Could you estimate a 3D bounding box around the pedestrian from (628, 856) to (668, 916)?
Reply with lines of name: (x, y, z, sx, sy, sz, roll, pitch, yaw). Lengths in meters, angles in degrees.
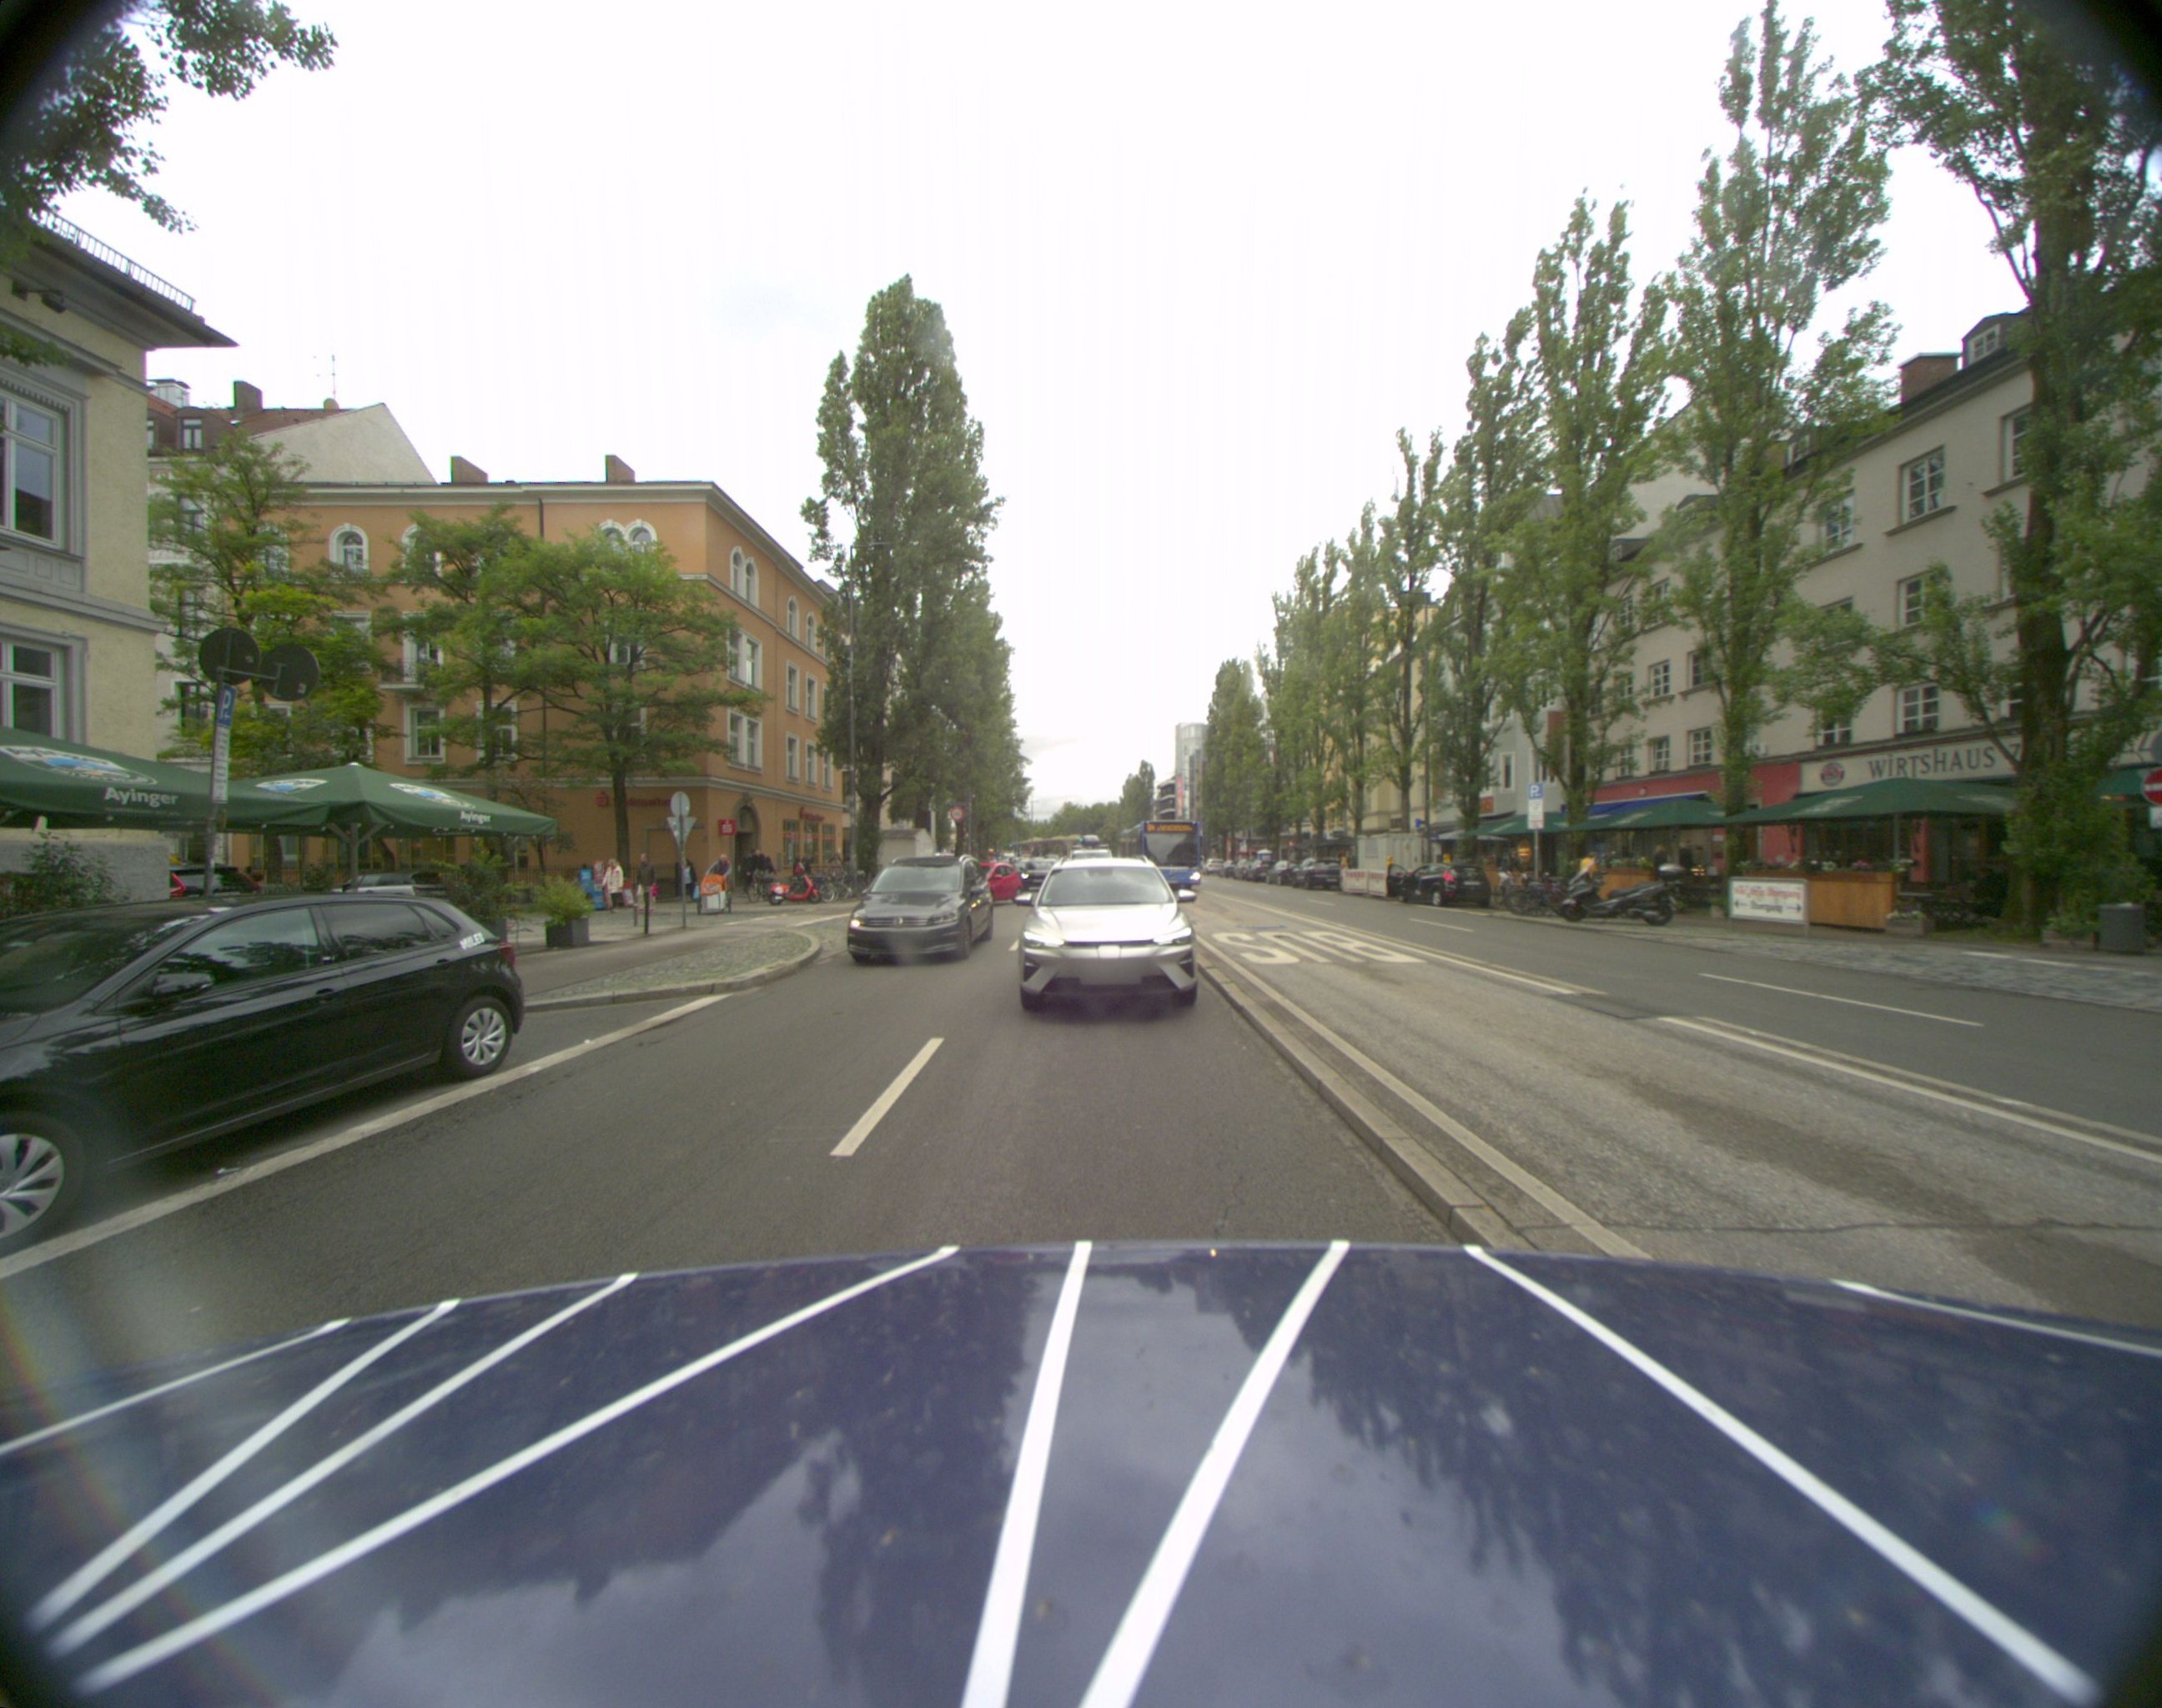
pedestrian: (-13.188, 0.967, 23.156, 0.699, 1.756, 0.732, -2, 1, 4)

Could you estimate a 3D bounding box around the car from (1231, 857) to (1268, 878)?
car: (12.557, 0.983, 56.773, 1.802, 1.495, 4.574, 0, 0, 1)

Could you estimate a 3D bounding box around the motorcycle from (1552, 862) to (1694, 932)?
motorcycle: (11.917, 0.895, 16.811, 0.747, 1.406, 2.448, 0, 0, -33)

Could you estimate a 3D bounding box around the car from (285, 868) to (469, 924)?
car: (-22.272, 1.291, 24.171, 3.997, 1.511, 1.906, -2, 1, -1)

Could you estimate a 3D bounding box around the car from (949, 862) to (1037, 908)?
car: (-2.974, 1.031, 26.617, 1.614, 1.425, 4.008, -1, 0, 16)

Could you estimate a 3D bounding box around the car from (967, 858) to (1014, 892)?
car: (-4.498, 0.994, 38.304, 1.789, 1.544, 4.498, -2, 0, 0)

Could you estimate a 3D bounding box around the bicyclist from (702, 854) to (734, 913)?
bicyclist: (-11.033, 0.887, 23.084, 0.832, 1.747, 0.666, -1, 1, -27)

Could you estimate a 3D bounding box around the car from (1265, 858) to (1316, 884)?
car: (12.278, 0.968, 44.845, 1.802, 1.432, 4.574, 0, 0, 1)

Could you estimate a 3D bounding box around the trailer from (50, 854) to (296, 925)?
trailer: (-28.073, 1.065, 23.626, 5.252, 2.016, 1.906, -1, 0, -1)

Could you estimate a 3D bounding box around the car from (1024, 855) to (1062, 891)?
car: (-1.975, 0.893, 38.093, 1.707, 1.683, 4.001, -2, 0, -5)

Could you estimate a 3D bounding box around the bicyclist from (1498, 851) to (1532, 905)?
bicyclist: (13.737, 0.747, 24.075, 0.606, 1.695, 0.816, -1, 1, 2)

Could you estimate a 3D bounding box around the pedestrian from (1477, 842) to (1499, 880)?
pedestrian: (20.570, 0.365, 38.419, 0.699, 1.915, 0.905, 0, 1, 4)

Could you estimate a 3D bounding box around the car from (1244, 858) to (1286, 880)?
car: (12.390, 0.974, 51.447, 1.802, 1.432, 4.574, 0, 0, 1)

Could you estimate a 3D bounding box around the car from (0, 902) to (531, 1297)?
car: (-5.264, 1.105, 4.133, 1.698, 1.408, 3.951, -1, 0, -1)

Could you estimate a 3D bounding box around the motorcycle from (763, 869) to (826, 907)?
motorcycle: (-9.717, 1.142, 25.793, 1.963, 1.214, 0.514, -1, 1, -25)

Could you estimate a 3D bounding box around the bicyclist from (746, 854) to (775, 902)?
bicyclist: (-11.444, 0.832, 27.170, 0.741, 1.677, 0.748, -1, 1, -7)

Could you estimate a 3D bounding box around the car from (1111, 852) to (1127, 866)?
car: (5.479, 0.669, 109.270, 1.897, 1.921, 5.071, 1, 0, -1)

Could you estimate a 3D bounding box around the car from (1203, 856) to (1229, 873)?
car: (12.898, 0.975, 72.893, 1.802, 1.568, 4.104, 0, 0, 1)

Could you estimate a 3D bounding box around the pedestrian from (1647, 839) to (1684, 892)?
pedestrian: (21.511, 0.427, 27.979, 0.699, 1.915, 0.905, 0, 1, 4)

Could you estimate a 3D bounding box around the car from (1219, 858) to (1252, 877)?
car: (12.642, 1.057, 62.378, 1.802, 1.432, 4.574, 0, 0, 1)

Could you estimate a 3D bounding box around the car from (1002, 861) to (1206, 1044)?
car: (0.206, 0.891, 8.696, 1.742, 1.510, 4.033, -2, 0, 0)

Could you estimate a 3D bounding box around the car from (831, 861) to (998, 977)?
car: (-2.610, 0.953, 12.983, 1.882, 1.582, 4.192, -2, 0, 0)

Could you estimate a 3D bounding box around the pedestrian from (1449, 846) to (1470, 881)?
pedestrian: (20.620, 0.508, 41.419, 0.699, 1.915, 0.905, 0, 1, 4)

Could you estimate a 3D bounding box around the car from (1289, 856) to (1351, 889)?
car: (12.128, 0.901, 38.930, 1.802, 1.603, 4.574, 0, 0, 1)

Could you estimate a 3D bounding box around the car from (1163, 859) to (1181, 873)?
car: (10.787, 1.381, 90.316, 1.718, 1.532, 4.077, 1, 0, 1)

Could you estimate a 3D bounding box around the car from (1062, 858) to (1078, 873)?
car: (-1.347, 1.348, 91.253, 1.789, 1.604, 4.498, -2, 0, 0)

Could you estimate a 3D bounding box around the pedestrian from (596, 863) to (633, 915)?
pedestrian: (-14.419, 1.062, 23.486, 0.699, 1.562, 0.575, -2, 1, 3)

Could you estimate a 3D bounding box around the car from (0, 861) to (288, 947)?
car: (-21.298, 1.096, 17.378, 4.425, 1.692, 1.972, -2, 1, 5)

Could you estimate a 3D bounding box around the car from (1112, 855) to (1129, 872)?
car: (4.818, 1.109, 93.574, 1.998, 2.002, 4.000, 0, 0, 1)

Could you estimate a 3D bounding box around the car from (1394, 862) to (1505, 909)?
car: (12.207, 1.004, 25.449, 1.760, 1.414, 3.784, 1, 0, -2)

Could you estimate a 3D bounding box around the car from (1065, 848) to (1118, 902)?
car: (0.373, 0.718, 29.303, 1.839, 1.831, 5.129, -2, 1, 0)
